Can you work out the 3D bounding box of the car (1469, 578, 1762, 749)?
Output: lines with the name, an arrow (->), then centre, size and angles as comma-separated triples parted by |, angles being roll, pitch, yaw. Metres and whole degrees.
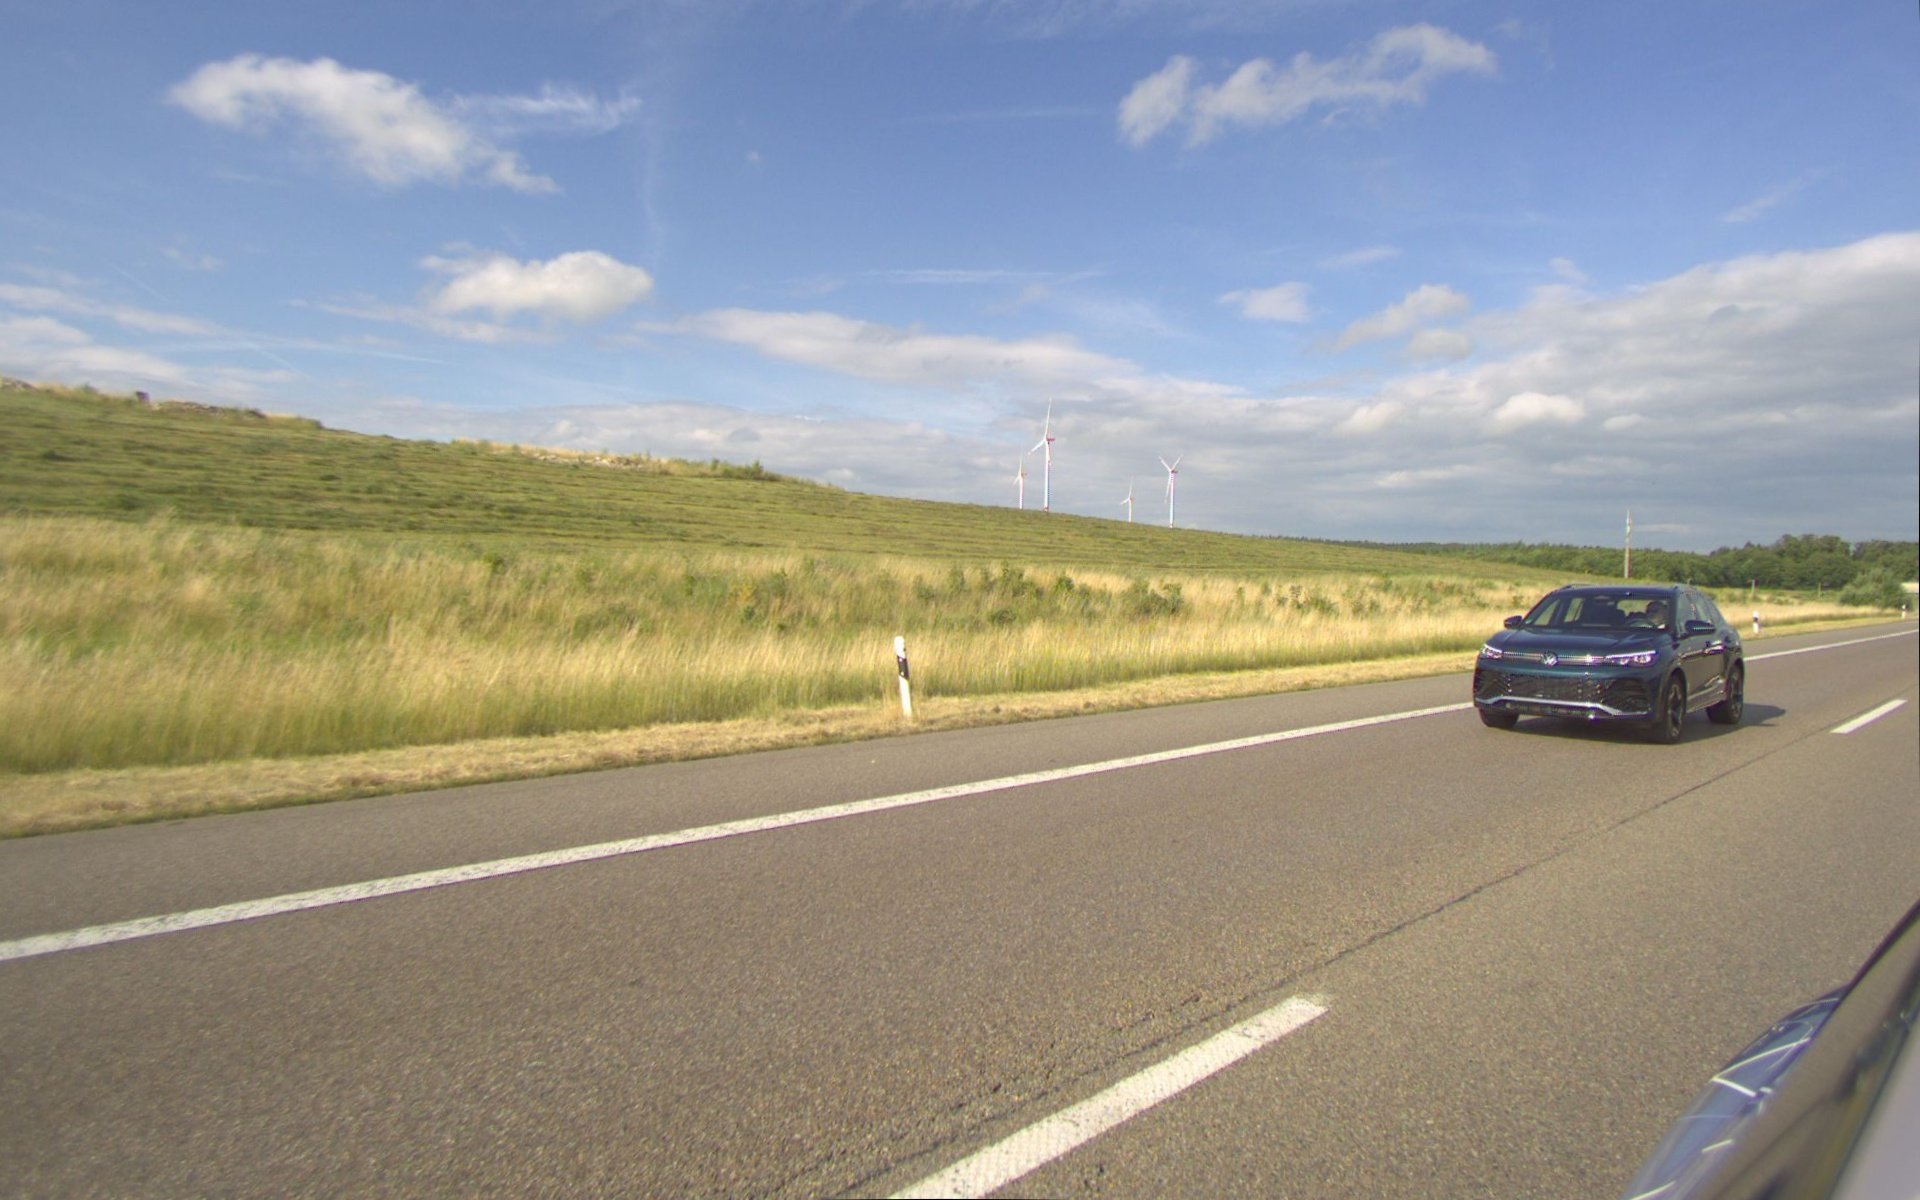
car -> 7.648, 0.572, 11.650 | 4.162, 1.621, 1.823 | -1, 1, -42
